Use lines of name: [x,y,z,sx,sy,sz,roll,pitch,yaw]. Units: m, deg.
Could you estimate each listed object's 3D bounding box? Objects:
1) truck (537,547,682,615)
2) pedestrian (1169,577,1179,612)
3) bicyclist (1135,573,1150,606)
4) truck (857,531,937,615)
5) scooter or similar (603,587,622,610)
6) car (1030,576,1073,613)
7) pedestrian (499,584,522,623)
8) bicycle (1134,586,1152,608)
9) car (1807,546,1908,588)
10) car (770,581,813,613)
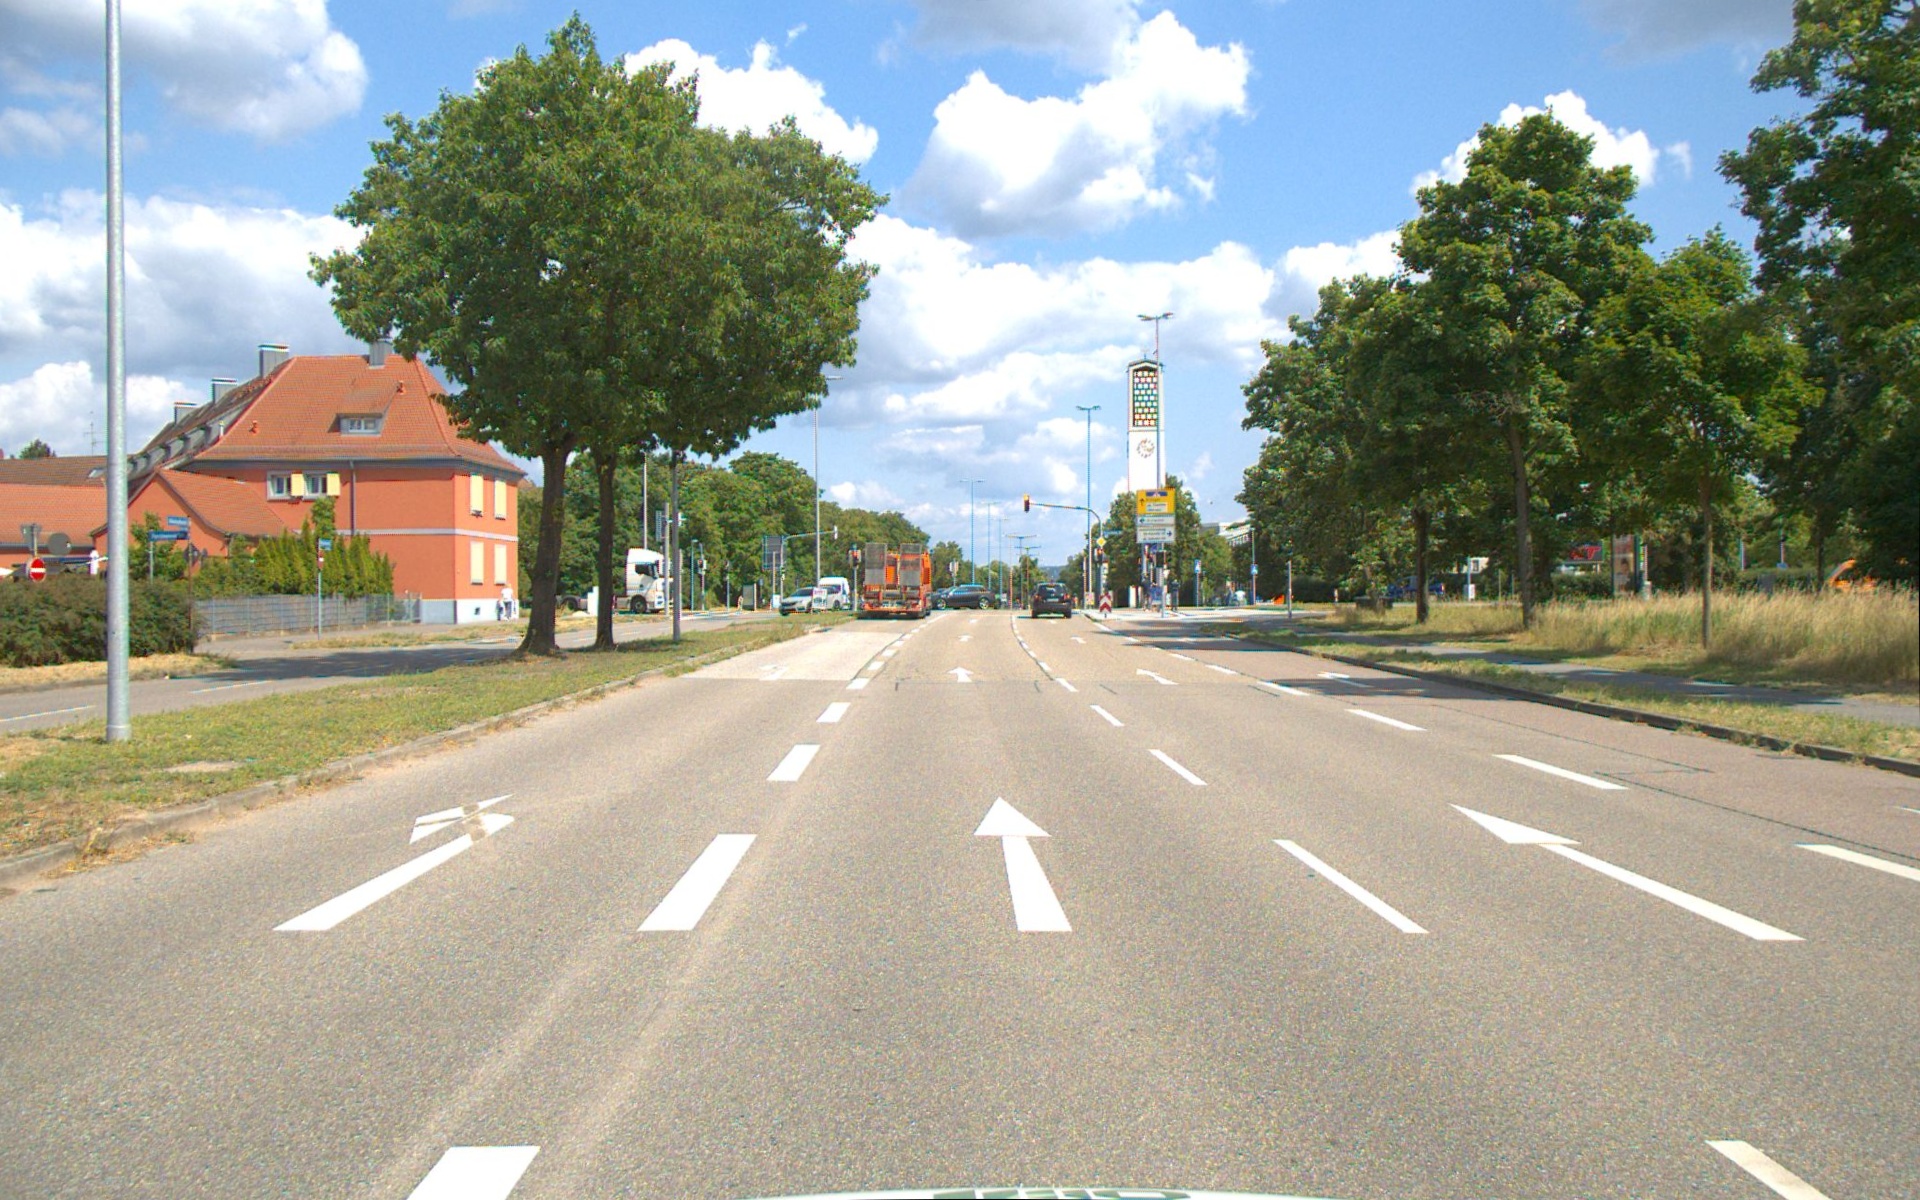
truck: [-21.900,-1.171,103.409,8.428,4.040,2.971,1,-1,17]
pedestrian: [11.279,-0.302,87.075,0.454,1.810,0.482,1,-1,12]
bicyclist: [9.715,-0.552,88.058,0.634,1.690,0.650,1,-1,16]
truck: [-2.742,-1.117,75.433,3.007,3.474,11.068,1,0,1]
scooter or similar: [-18.307,-0.089,87.117,0.577,1.184,1.762,1,0,0]
car: [4.174,-0.226,75.908,1.762,1.579,4.000,1,0,1]
pedestrian: [-18.902,0.154,69.608,0.681,1.611,0.851,1,-1,0]
bicycle: [9.758,-0.131,88.242,0.634,1.127,1.929,1,0,16]
car: [52.376,-1.910,96.599,4.741,2.265,2.213,1,-1,14]
car: [-8.977,-0.140,88.617,1.697,1.534,4.653,-4,0,1]
